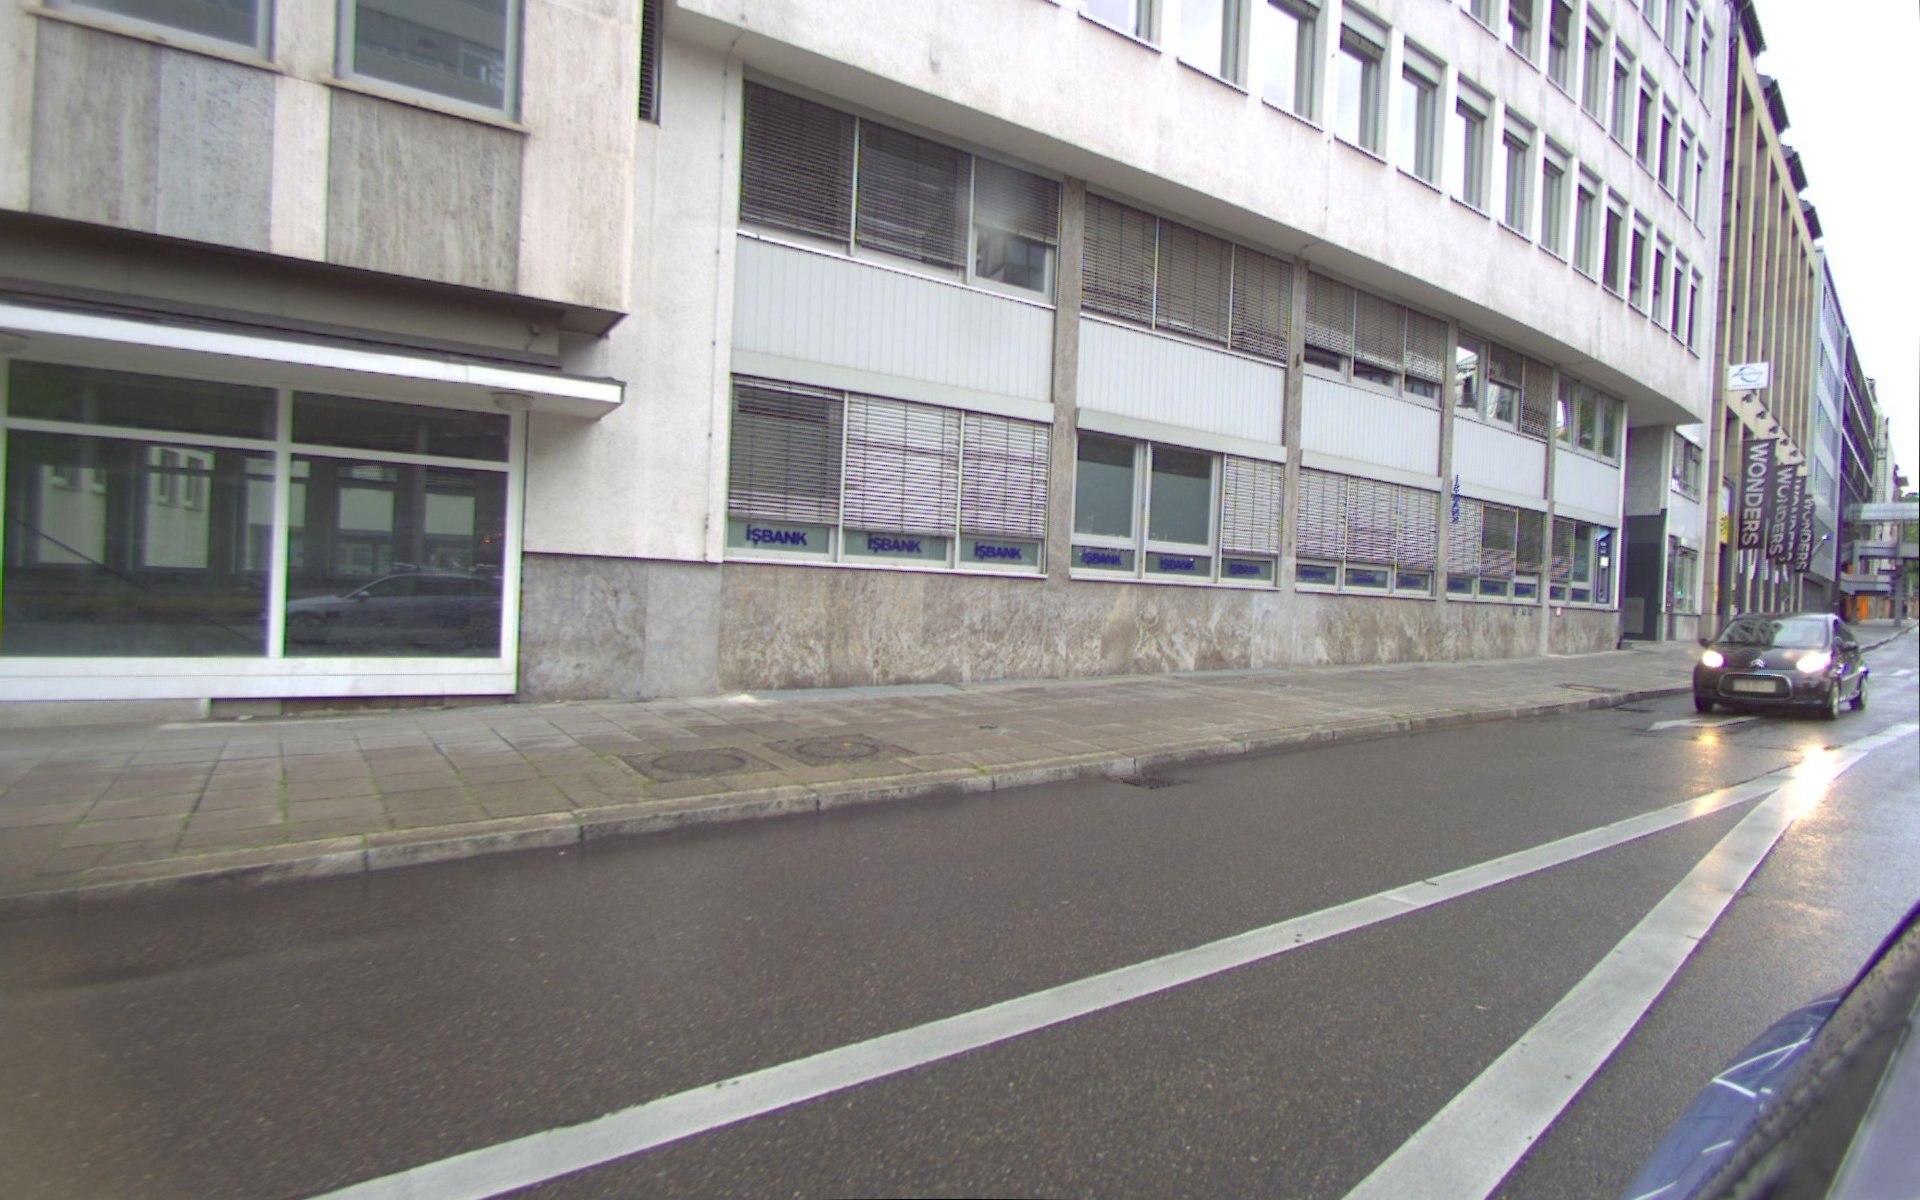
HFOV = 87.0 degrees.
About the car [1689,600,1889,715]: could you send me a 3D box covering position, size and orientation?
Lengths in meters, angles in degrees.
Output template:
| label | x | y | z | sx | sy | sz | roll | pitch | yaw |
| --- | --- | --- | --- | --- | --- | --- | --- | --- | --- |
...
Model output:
| label | x | y | z | sx | sy | sz | roll | pitch | yaw |
| --- | --- | --- | --- | --- | --- | --- | --- | --- | --- |
| car | 12.243 | 0.773 | 14.888 | 3.422 | 1.492 | 1.665 | 1 | -1 | -40 |
